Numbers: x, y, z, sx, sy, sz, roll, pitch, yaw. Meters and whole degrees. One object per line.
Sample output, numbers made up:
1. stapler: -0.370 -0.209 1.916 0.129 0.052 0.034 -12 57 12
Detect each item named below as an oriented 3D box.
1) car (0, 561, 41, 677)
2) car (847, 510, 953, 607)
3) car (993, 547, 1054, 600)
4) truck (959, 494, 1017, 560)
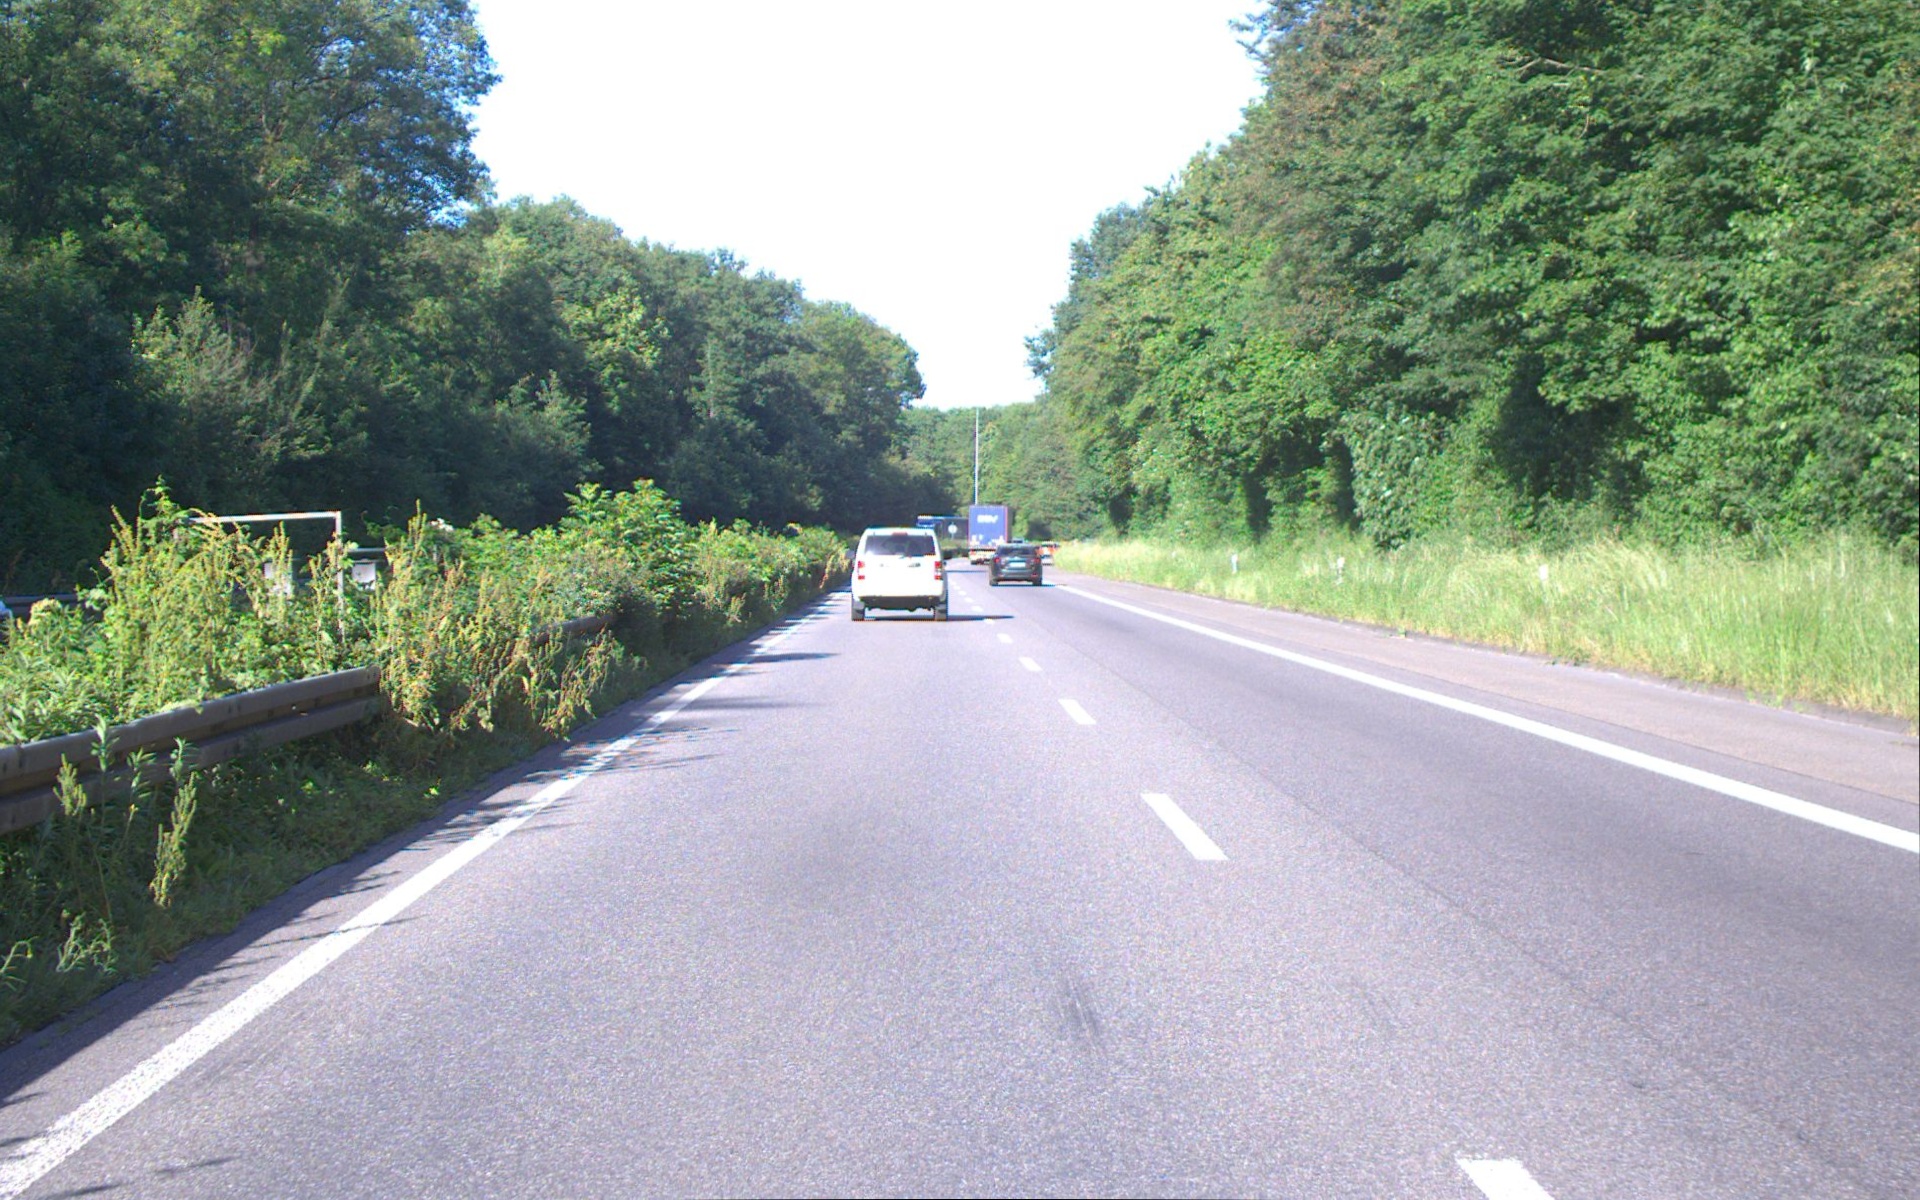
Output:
1. car: -12.696 0.225 41.572 1.993 1.419 4.509 1 1 -1
2. car: -1.170 -0.800 66.660 1.951 1.776 4.588 1 1 -1
3. car: 2.216 -0.943 120.582 1.951 1.776 4.588 1 1 -1
4. truck: 1.875 -4.898 232.973 3.734 4.328 9.305 1 1 0
